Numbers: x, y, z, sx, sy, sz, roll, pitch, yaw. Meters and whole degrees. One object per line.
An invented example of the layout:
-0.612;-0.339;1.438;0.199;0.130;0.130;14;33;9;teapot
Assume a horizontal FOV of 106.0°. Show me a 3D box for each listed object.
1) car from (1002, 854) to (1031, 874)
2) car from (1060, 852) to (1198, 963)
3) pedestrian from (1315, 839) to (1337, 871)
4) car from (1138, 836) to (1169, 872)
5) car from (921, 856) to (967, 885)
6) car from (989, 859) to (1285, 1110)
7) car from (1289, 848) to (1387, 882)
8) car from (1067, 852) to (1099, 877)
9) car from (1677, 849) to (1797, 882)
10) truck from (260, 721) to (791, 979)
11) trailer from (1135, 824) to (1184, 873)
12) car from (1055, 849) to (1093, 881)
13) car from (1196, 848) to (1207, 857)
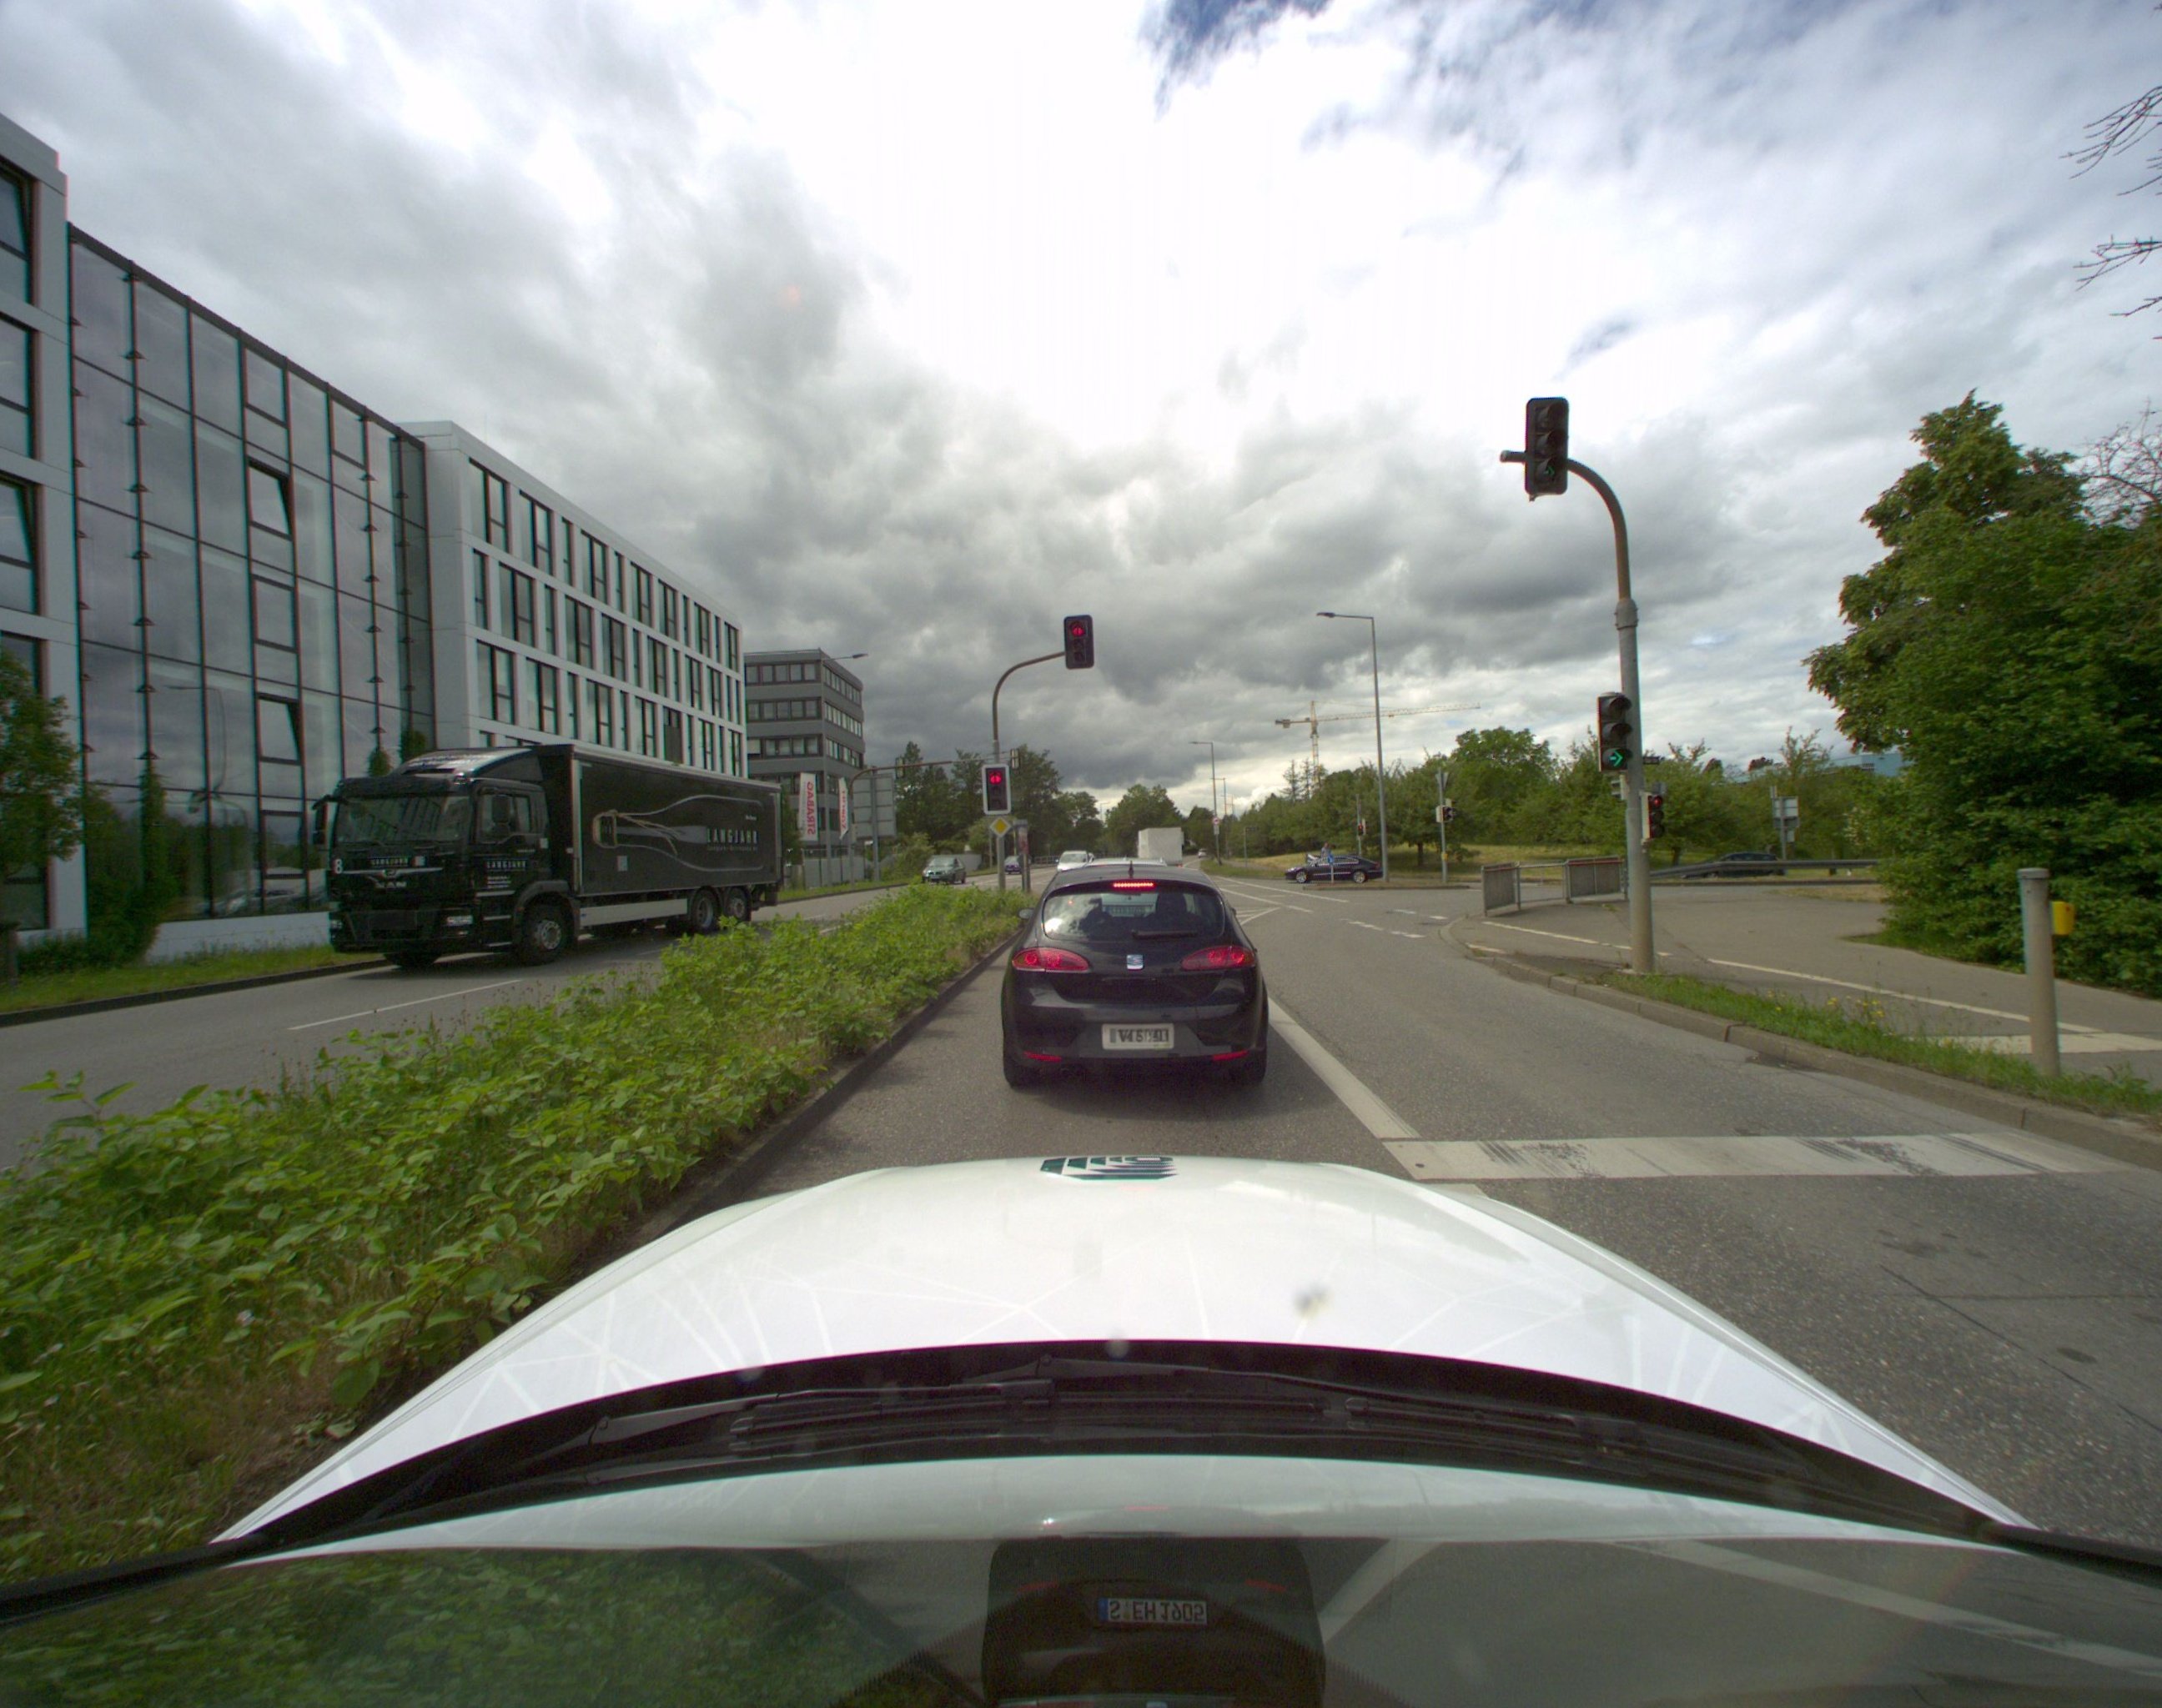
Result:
-5.018;0.751;63.607;1.546;1.419;3.902;-1;0;5;car
0.745;0.733;12.798;1.827;1.467;3.754;0;0;3;car
14.112;0.067;46.887;0.721;1.793;1.035;0;-1;-25;pedestrian
5.281;0.020;60.021;2.117;2.518;5.840;0;-1;3;car
-7.305;0.845;43.753;1.598;1.432;3.757;-1;0;4;car
0.385;0.771;6.474;1.704;1.417;3.461;-1;0;2;car
12.667;0.583;40.136;4.417;1.566;2.010;-1;-2;22;car
0.191;0.643;52.423;1.652;1.518;4.091;-1;0;6;car
29.529;0.520;36.749;3.856;1.446;1.764;0;-1;9;car
-9.425;-0.065;16.025;3.152;3.518;9.542;-1;0;6;truck
5.142;-0.315;54.179;2.485;3.073;5.582;0;-1;-2;trailer
-0.365;0.594;46.355;1.812;1.686;4.650;0;0;4;car
21.413;-0.198;145.094;1.656;1.596;4.013;-1;-1;12;car
